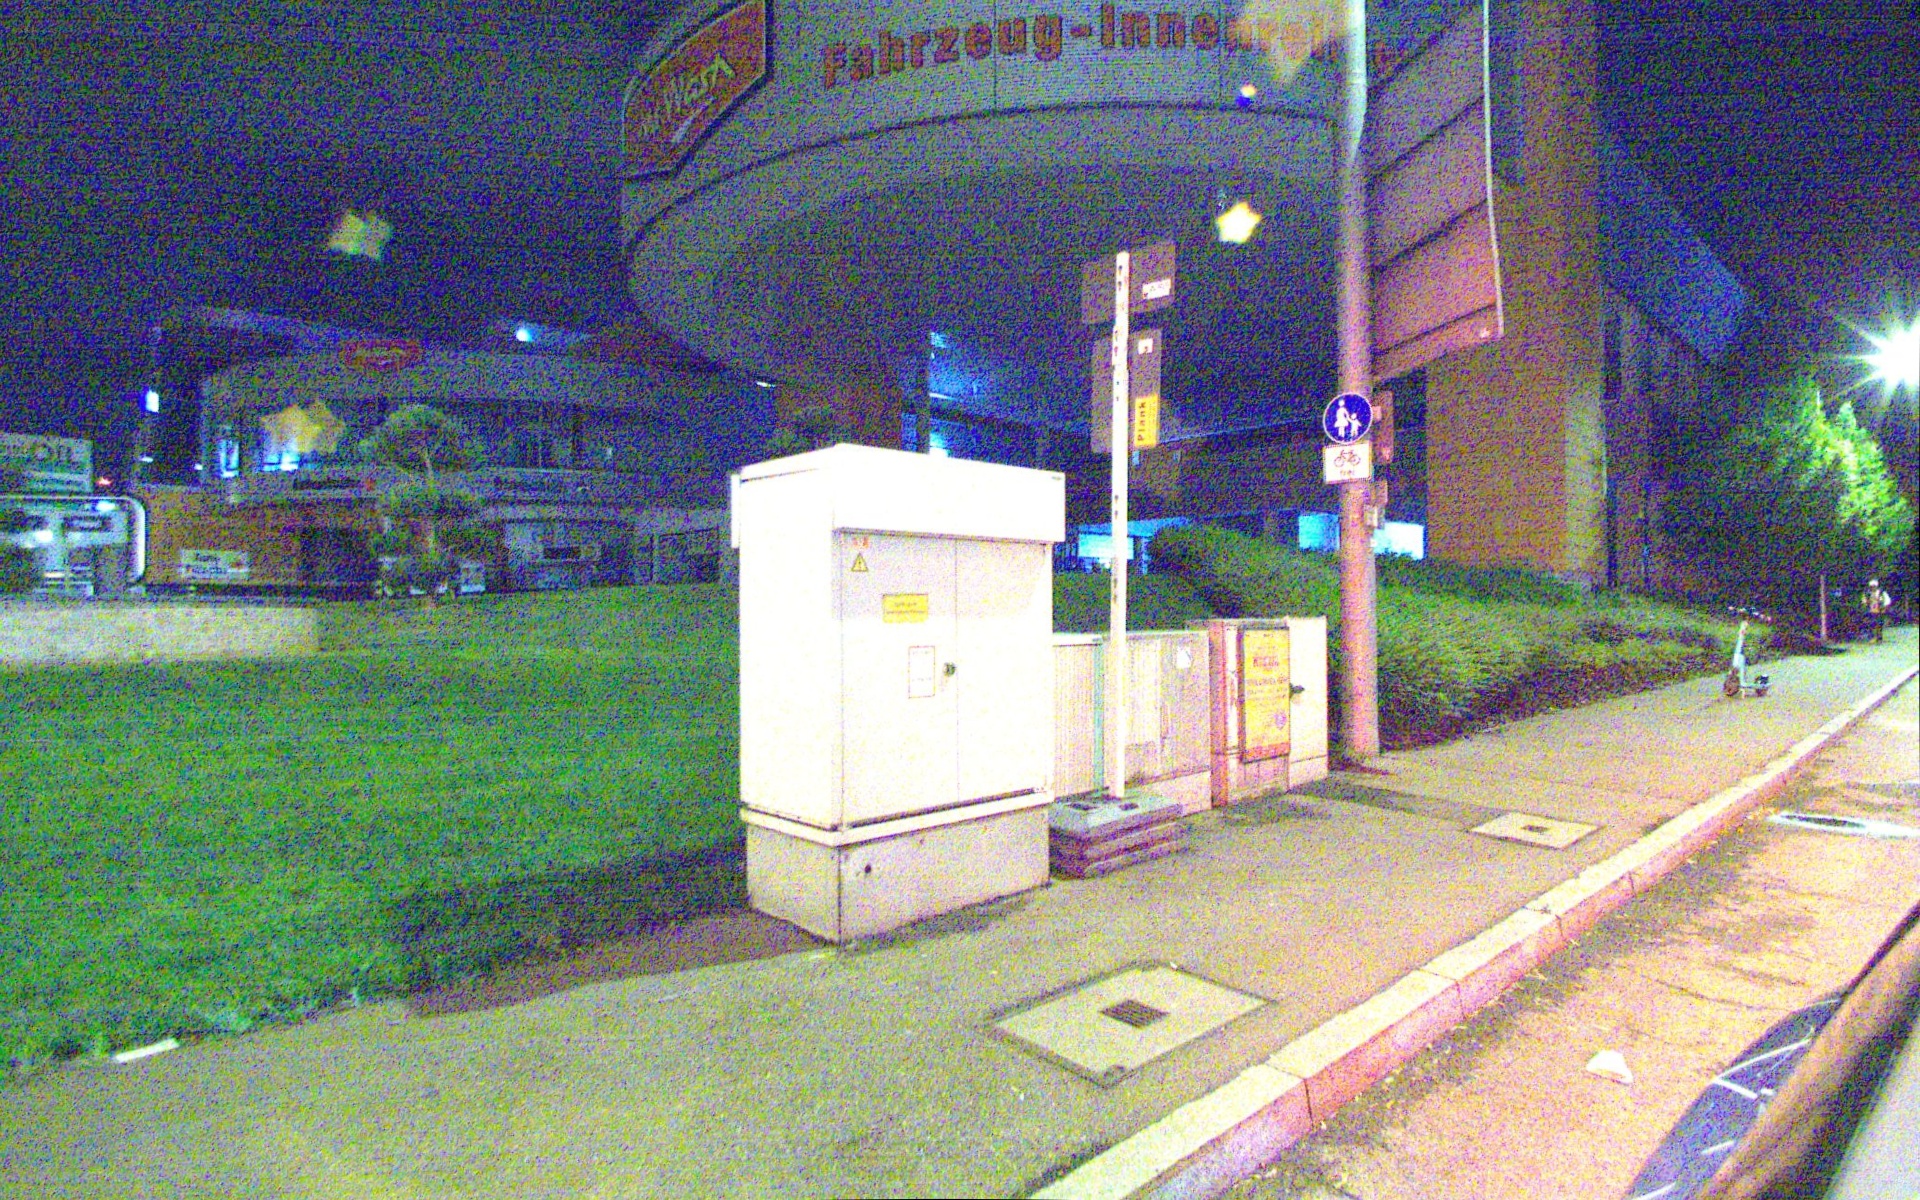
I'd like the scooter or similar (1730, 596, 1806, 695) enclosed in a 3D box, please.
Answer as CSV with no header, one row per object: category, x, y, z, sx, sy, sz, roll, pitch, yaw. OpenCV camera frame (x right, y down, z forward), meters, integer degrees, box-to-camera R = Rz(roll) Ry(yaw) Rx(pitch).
scooter or similar,11.274,0.606,14.106,1.367,1.295,0.569,0,1,-41

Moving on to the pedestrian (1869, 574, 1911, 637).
pedestrian,27.480,0.158,29.912,0.597,1.842,0.824,-1,0,-40
